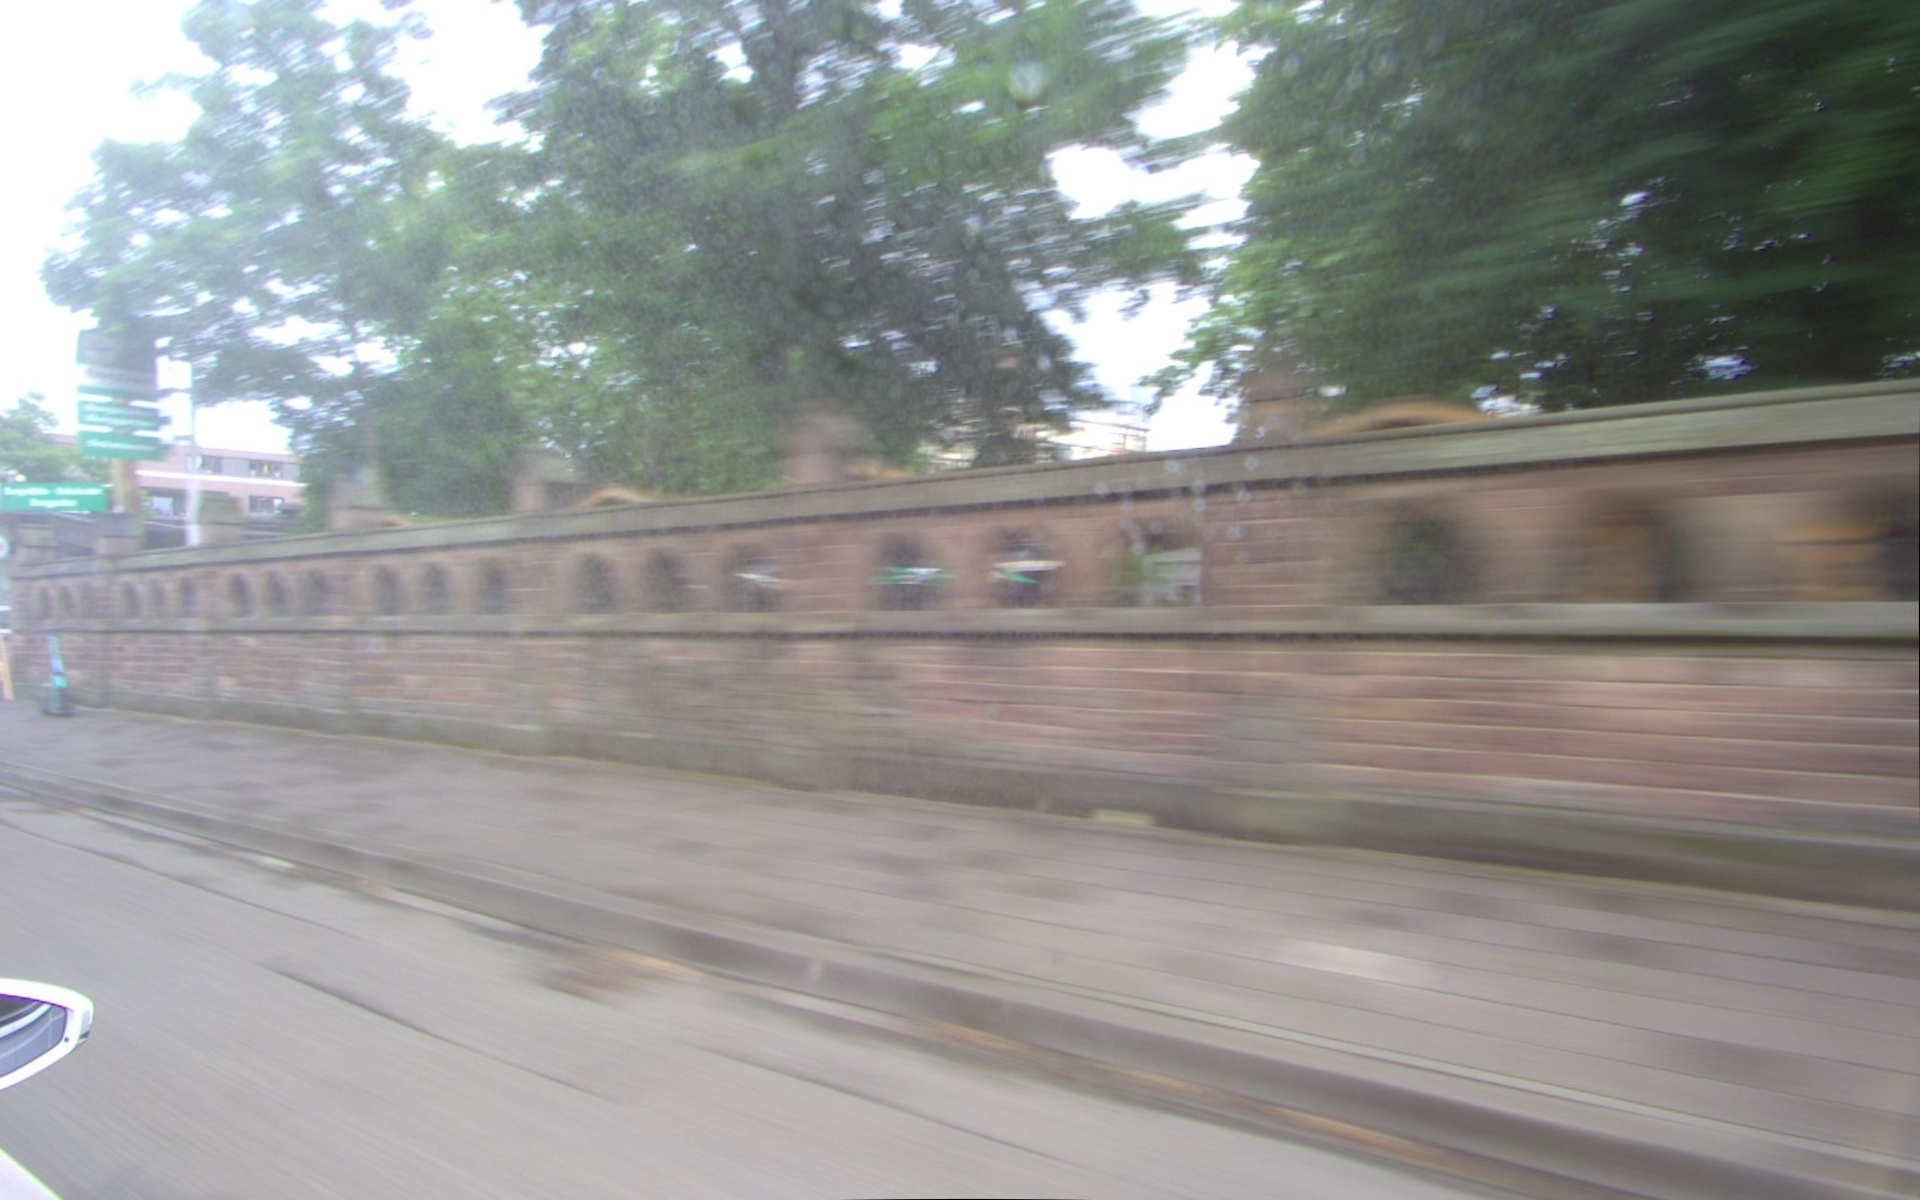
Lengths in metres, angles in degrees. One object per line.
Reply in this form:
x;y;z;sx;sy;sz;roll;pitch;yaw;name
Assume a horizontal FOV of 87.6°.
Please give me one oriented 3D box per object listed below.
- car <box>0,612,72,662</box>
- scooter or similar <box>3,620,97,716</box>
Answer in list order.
-29.360;1.107;30.180;1.900;1.426;4.578;-1;0;-13;car
-12.874;0.939;14.162;1.390;1.256;0.575;-1;3;33;scooter or similar
